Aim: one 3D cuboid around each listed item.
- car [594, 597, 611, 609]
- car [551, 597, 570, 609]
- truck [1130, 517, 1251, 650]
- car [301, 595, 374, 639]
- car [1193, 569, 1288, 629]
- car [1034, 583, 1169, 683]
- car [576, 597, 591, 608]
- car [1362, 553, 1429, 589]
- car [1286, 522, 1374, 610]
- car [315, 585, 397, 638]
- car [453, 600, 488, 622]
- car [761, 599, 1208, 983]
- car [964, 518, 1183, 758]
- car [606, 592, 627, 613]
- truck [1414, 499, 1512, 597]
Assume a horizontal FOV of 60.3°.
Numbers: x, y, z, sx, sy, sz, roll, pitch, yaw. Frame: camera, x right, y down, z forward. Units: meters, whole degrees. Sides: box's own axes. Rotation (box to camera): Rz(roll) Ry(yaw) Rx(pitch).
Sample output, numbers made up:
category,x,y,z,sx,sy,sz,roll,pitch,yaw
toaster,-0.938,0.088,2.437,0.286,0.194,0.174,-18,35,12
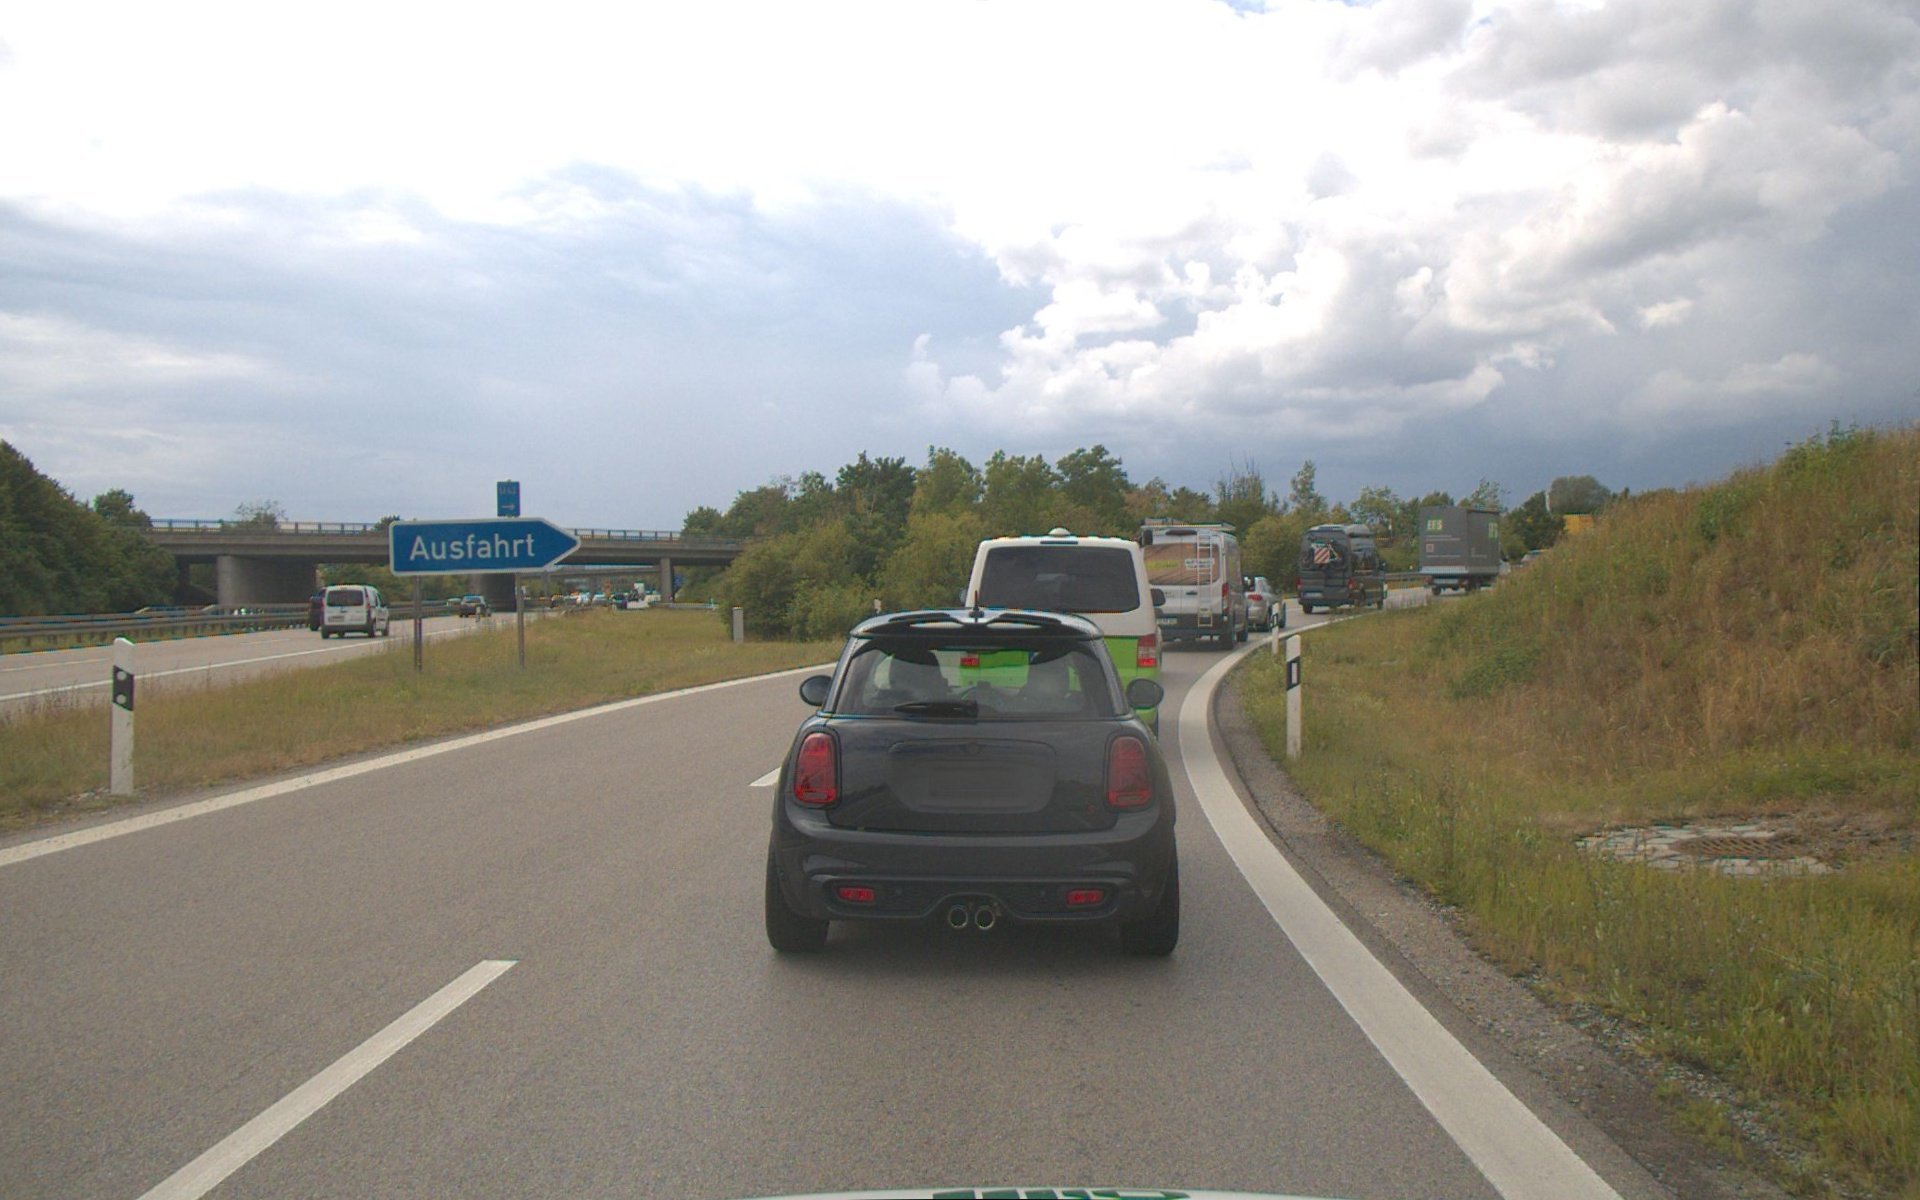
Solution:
category,x,y,z,sx,sy,sz,roll,pitch,yaw
car,-43.301,0.389,200.319,1.747,1.423,4.542,-1,0,-8
car,-46.395,0.316,191.907,1.747,1.423,4.298,-1,0,-8
truck,5.133,-0.381,36.272,2.132,2.705,5.113,-1,1,13
car,-27.250,0.700,72.559,1.957,1.817,5.400,-1,0,-9
car,7.653,-0.038,44.889,1.827,1.536,4.001,0,0,20
car,2.264,0.469,25.697,1.724,1.423,3.728,-1,0,10
car,-51.077,0.332,224.568,1.748,1.423,4.295,-1,0,-11
car,20.377,-1.320,77.276,1.765,1.583,3.947,-1,-1,35
car,12.532,-1.127,55.871,2.063,2.845,3.997,1,1,25
car,-21.391,0.397,58.728,1.841,1.782,4.478,-1,0,-9
car,-34.164,0.745,115.515,1.690,1.449,4.786,-1,0,-10
car,0.146,0.722,8.147,1.691,1.438,3.726,0,0,2
car,1.234,0.312,16.212,1.746,2.049,4.003,0,0,10
car,-34.262,0.221,164.883,1.958,2.049,3.989,1,-1,-11
truck,21.812,-2.177,71.548,2.191,3.975,5.992,0,-1,36
